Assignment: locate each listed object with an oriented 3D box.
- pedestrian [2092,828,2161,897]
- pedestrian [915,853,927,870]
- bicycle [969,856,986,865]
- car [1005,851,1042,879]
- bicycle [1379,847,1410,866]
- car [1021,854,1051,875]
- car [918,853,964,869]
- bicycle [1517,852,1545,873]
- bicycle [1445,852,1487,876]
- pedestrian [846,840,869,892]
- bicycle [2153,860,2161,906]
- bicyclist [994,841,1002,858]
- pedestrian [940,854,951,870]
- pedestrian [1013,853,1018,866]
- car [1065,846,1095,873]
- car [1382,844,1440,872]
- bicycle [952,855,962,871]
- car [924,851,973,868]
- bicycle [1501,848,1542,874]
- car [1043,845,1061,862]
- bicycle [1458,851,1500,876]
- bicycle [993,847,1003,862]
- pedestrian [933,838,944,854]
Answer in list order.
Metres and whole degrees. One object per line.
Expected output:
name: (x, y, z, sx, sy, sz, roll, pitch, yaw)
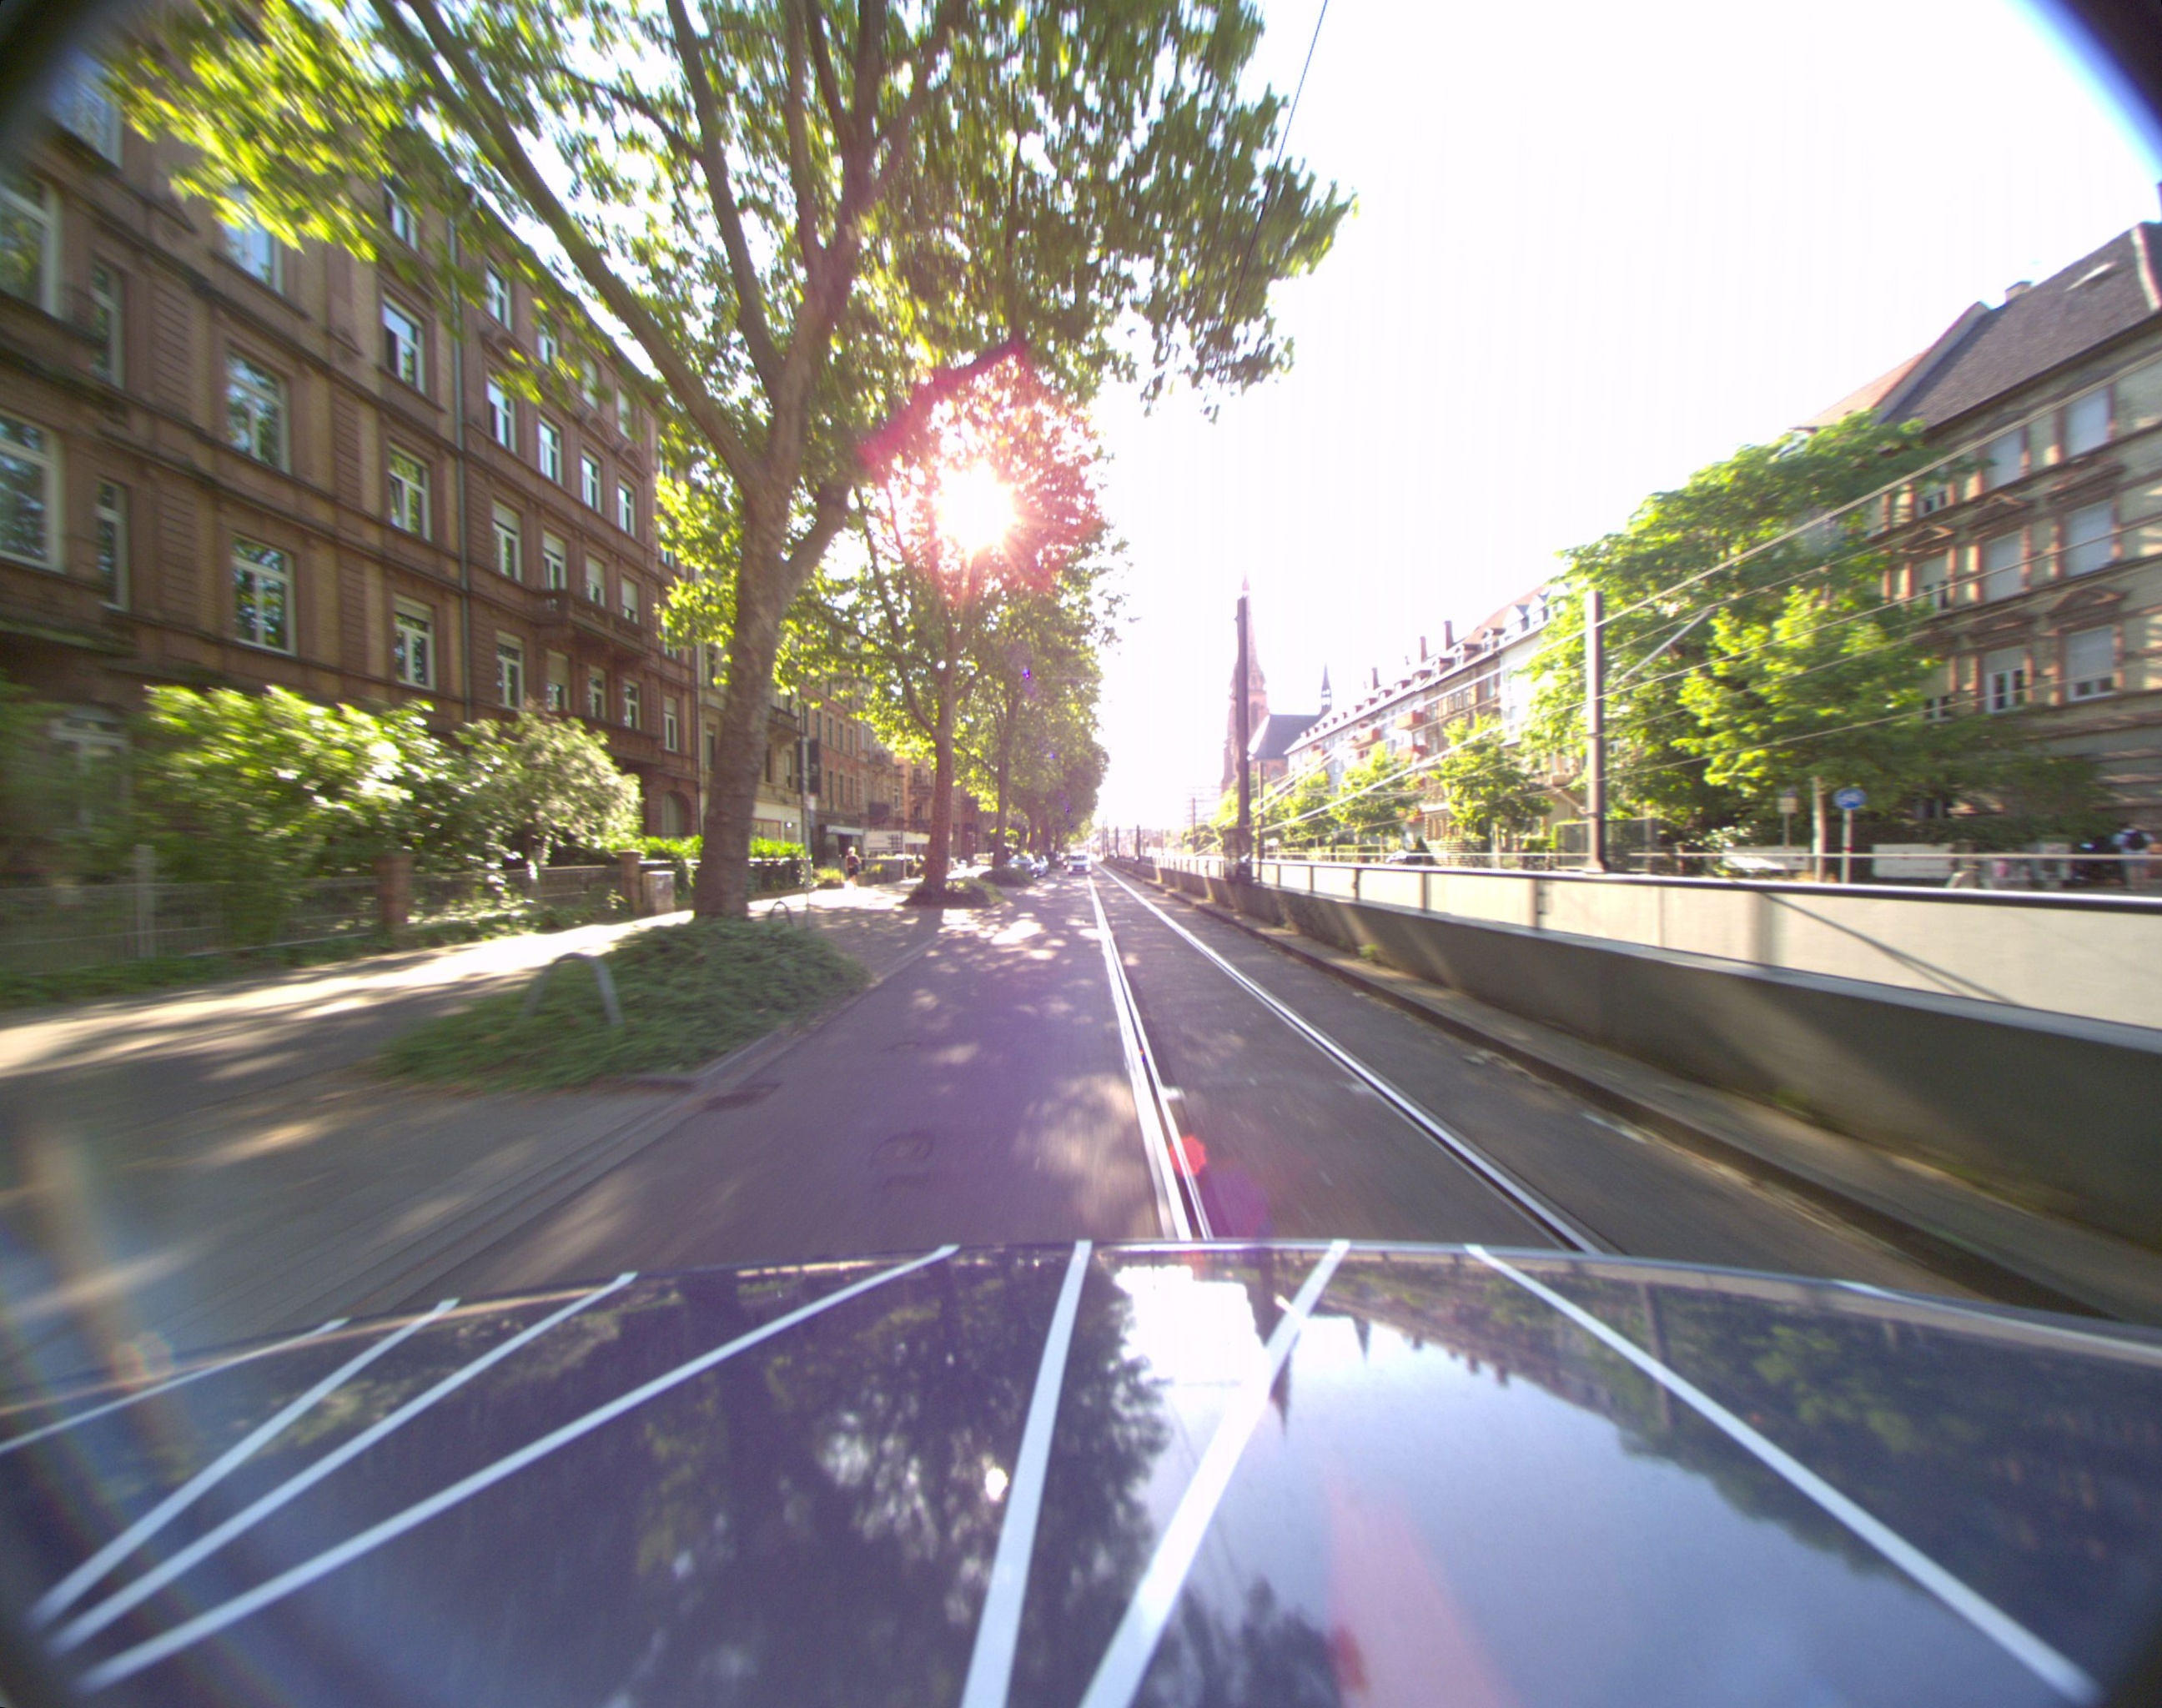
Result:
pedestrian: (26.954, 0.212, 19.525, 0.720, 1.679, 0.865, -4, 1, 6)
pedestrian: (-12.294, 0.547, 58.510, 0.714, 1.292, 0.662, -1, 1, 1)
bicycle: (-10.594, 0.678, 78.047, 1.696, 0.911, 0.602, -1, 1, -11)
car: (-3.456, 0.636, 46.333, 1.736, 1.528, 4.805, -2, 1, 2)
bicycle: (21.619, 0.194, 52.421, 1.812, 1.171, 0.562, -4, 1, 3)
car: (-3.107, 0.705, 53.316, 1.834, 1.319, 3.999, -1, 1, 0)
car: (-13.103, 0.664, 71.139, 3.998, 1.356, 1.743, -1, -1, -3)
bicycle: (21.368, 0.390, 36.053, 1.270, 0.900, 0.538, -4, 1, -30)
bicycle: (20.870, 0.522, 41.143, 2.791, 1.092, 0.641, -4, 1, -32)
pedestrian: (-8.788, 0.470, 29.857, 0.674, 2.002, 0.633, -1, 1, 0)
bicycle: (24.490, 0.663, 16.129, 0.456, 1.000, 1.939, -4, 4, -31)
bicyclist: (-6.904, -0.362, 63.176, 0.544, 1.372, 0.644, -4, 0, -1)
pedestrian: (-11.026, 0.671, 61.850, 0.714, 1.292, 0.662, -1, 1, 0)
pedestrian: (-8.486, 0.730, 98.525, 0.531, 1.618, 0.618, 0, 0, 0)
car: (-0.039, 0.368, 55.769, 1.823, 1.729, 4.001, -5, 0, 4)
car: (21.161, 0.242, 48.937, 1.837, 1.576, 3.999, -4, 0, -2)
bicycle: (-9.299, 0.663, 56.992, 0.476, 1.137, 1.896, 1, 1, 0)
car: (-13.276, 0.562, 76.356, 4.615, 1.539, 1.921, -2, 1, -5)
bicycle: (21.268, 0.326, 36.668, 2.379, 1.092, 0.556, -4, 1, -30)
car: (-3.396, -0.038, 90.735, 1.999, 2.002, 5.201, -1, 0, -1)
bicycle: (21.271, 0.498, 40.578, 2.791, 1.092, 0.641, -4, 1, -32)
bicycle: (-6.872, 0.070, 63.101, 0.562, 1.171, 2.225, -5, 1, -1)
pedestrian: (-11.352, -0.638, 60.593, 0.714, 1.292, 0.662, -1, 1, -1)
